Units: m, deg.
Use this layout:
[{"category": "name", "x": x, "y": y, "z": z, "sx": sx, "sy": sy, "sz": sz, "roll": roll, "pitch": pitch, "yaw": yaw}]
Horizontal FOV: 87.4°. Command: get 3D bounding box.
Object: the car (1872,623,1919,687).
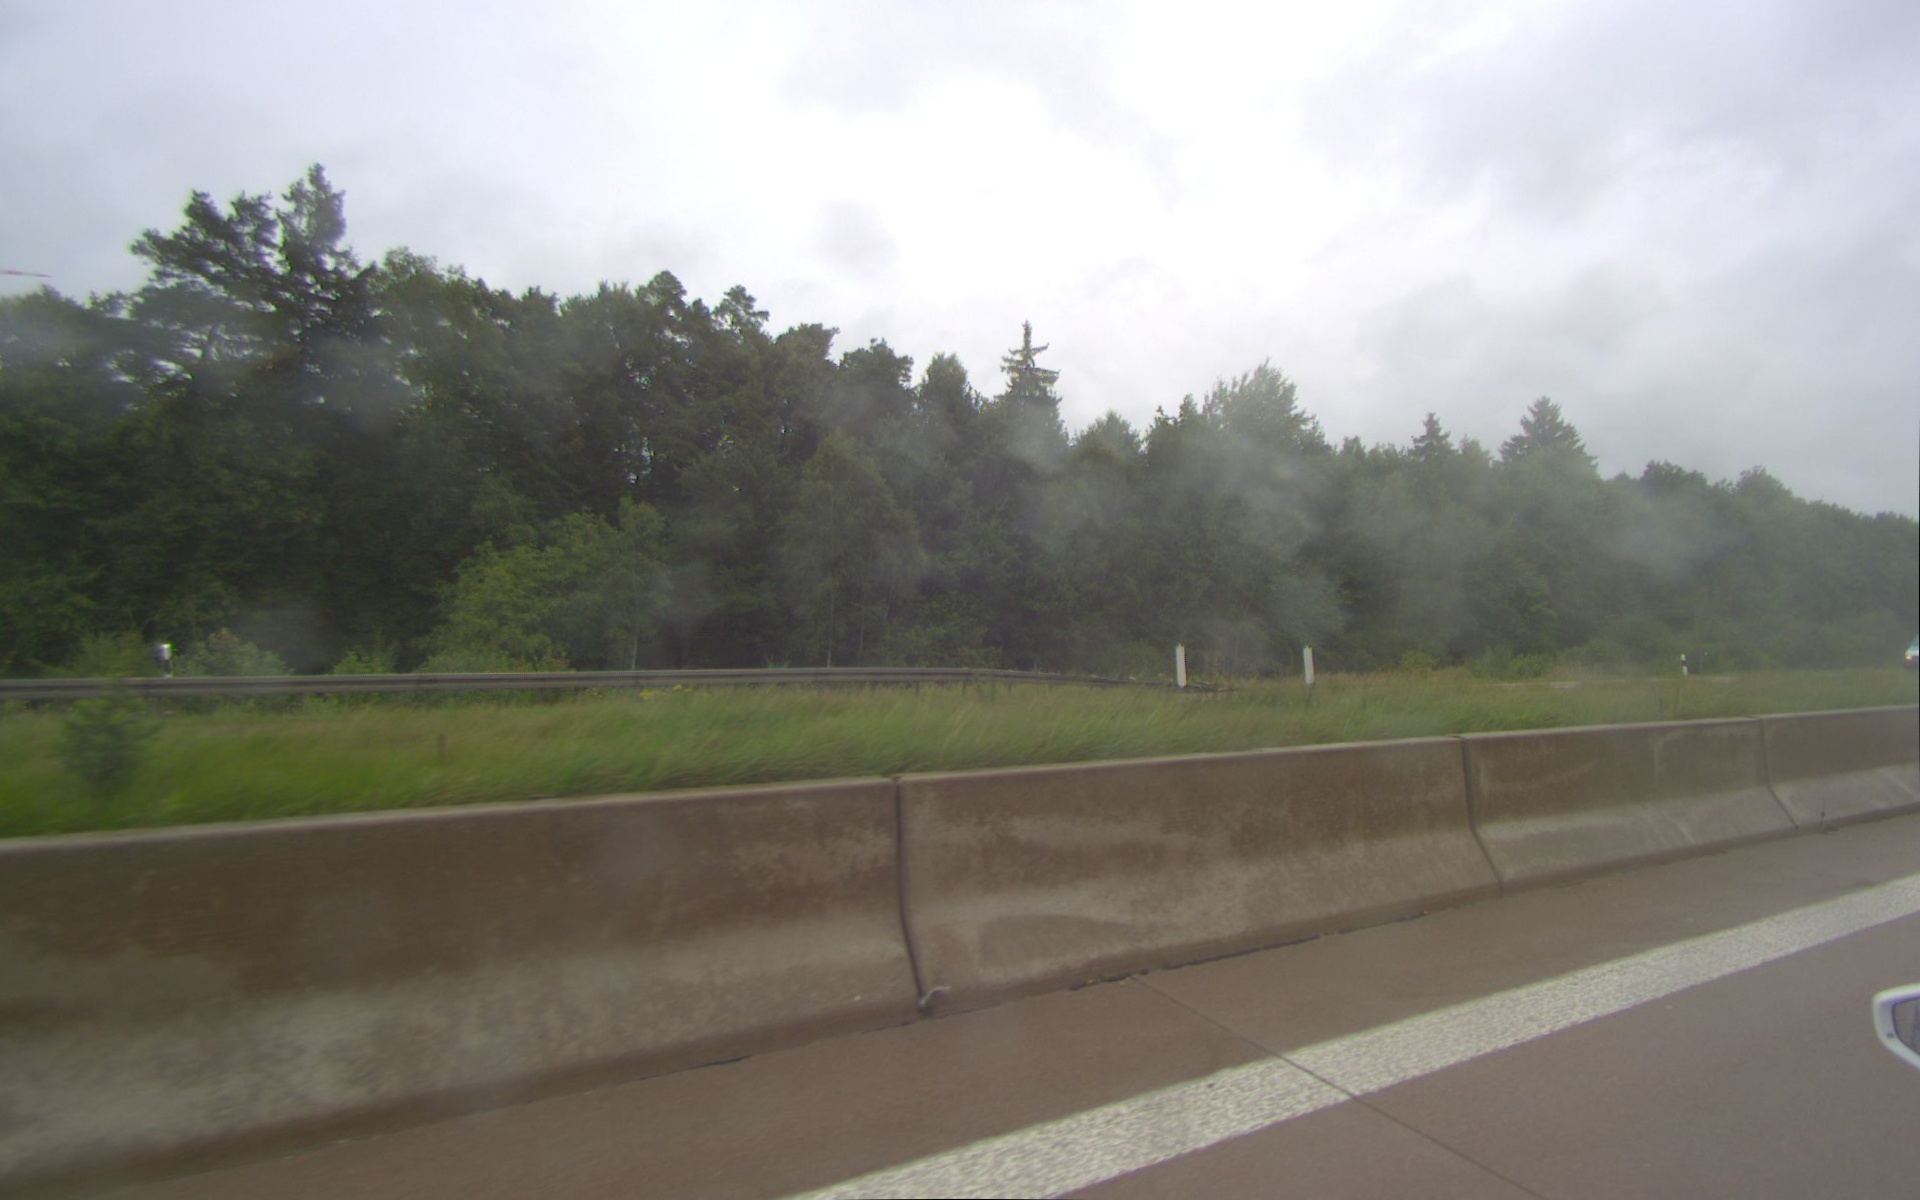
[{"category": "car", "x": 33.586, "y": 1.883, "z": 34.175, "sx": 5.598, "sy": 2.040, "sz": 2.294, "roll": 2, "pitch": 0, "yaw": -31}]
